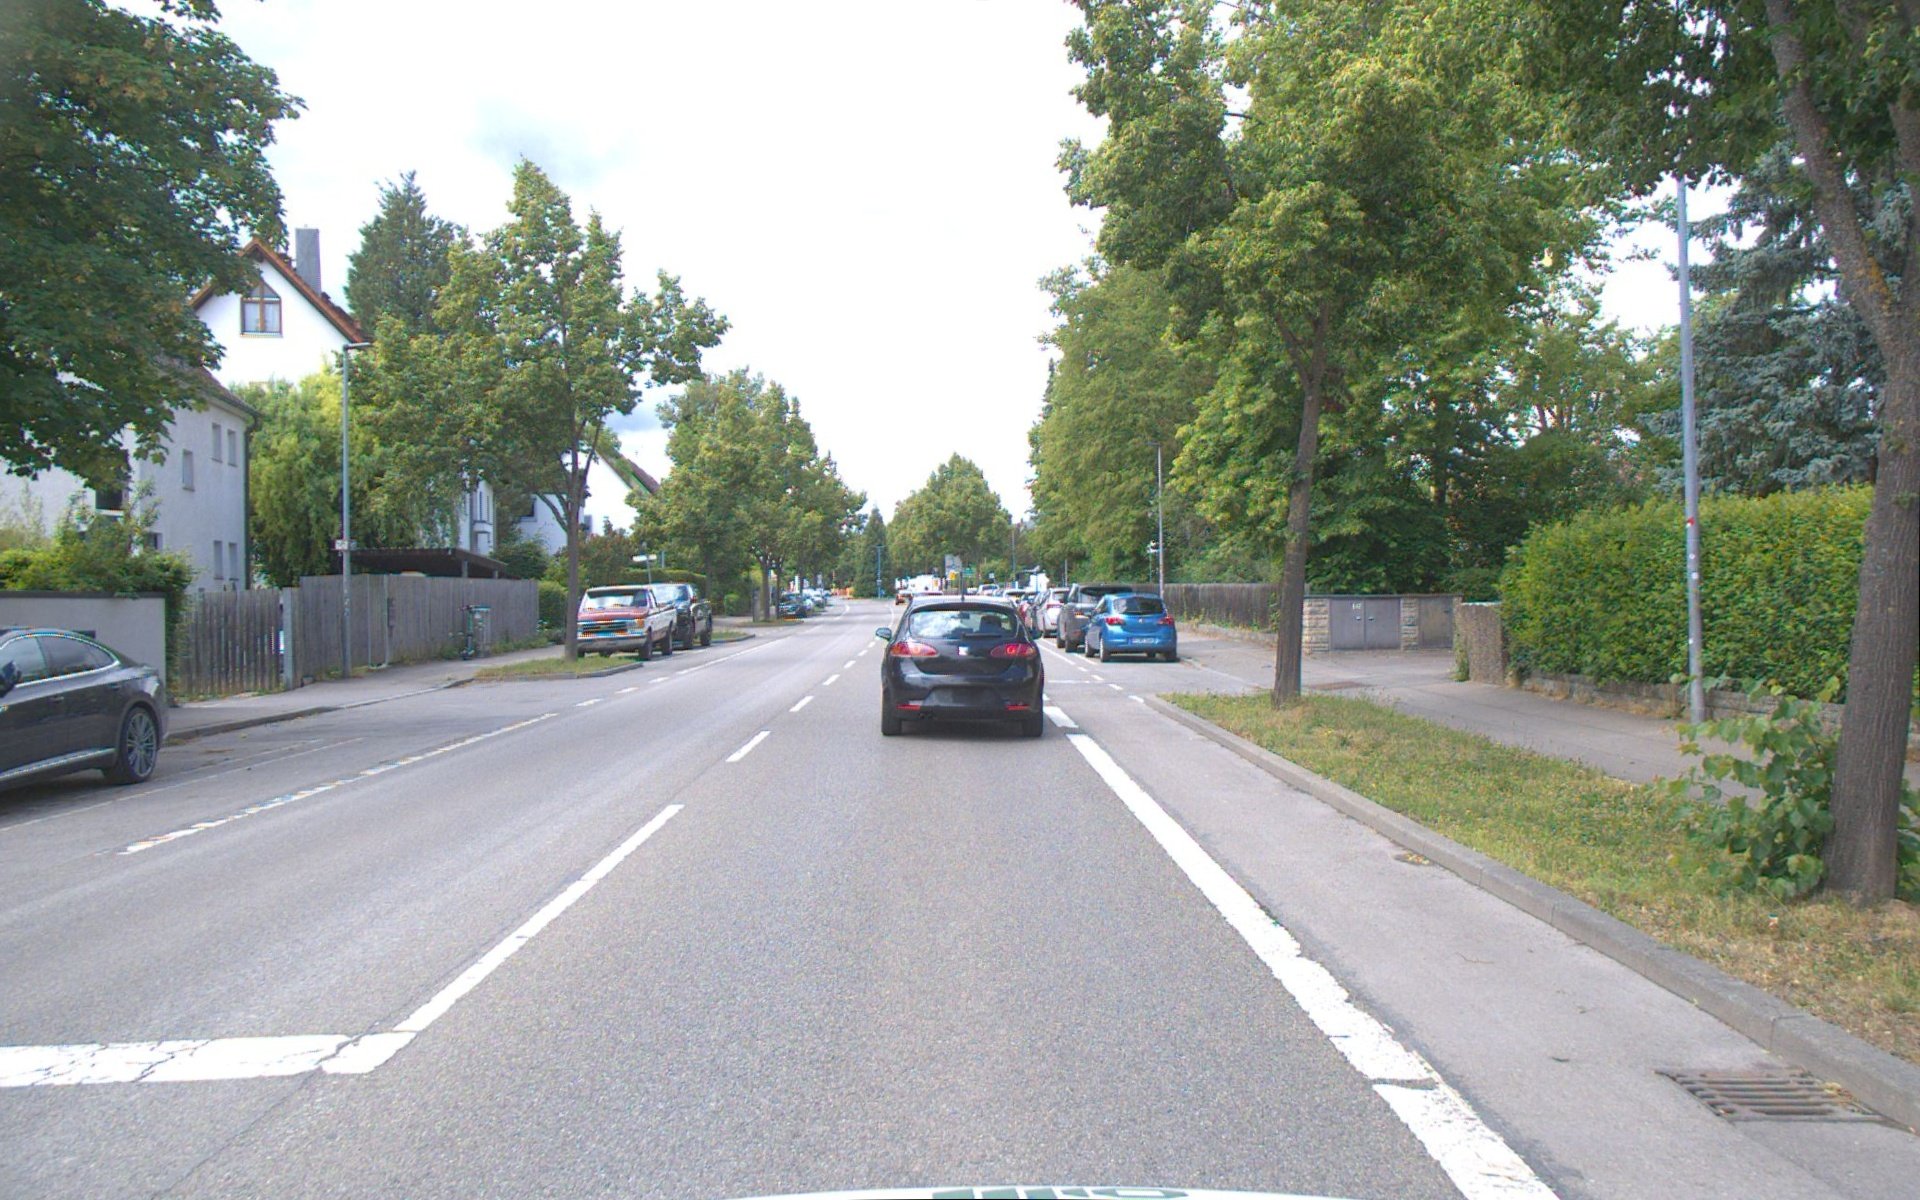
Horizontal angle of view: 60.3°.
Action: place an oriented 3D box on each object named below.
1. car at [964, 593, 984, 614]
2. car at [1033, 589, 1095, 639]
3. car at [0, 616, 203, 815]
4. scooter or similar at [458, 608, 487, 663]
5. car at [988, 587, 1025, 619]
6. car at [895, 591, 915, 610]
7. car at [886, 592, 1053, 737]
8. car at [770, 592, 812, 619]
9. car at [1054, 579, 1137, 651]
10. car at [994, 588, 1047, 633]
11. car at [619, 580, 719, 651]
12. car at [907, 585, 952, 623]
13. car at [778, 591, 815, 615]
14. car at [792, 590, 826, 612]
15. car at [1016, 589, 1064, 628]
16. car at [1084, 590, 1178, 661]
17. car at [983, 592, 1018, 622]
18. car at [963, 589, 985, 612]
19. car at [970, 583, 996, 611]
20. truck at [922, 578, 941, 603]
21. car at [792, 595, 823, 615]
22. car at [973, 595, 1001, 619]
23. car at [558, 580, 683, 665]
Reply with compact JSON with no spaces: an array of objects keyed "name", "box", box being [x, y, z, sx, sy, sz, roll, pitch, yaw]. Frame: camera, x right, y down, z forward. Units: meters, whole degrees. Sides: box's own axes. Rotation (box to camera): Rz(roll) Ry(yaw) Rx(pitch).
[{"name":"car","box":[1.259,0.303,153.039,1.654,1.908,4.212,-1,0,-2]},{"name":"car","box":[3.415,0.437,54.783,1.654,1.591,4.212,-1,0,-2]},{"name":"car","box":[-7.962,0.907,13.212,1.683,1.419,4.799,-2,0,-2]},{"name":"scooter or similar","box":[-11.418,0.812,38.756,0.380,1.251,1.497,-1,0,-6]},{"name":"car","box":[2.379,0.133,85.490,1.654,1.591,4.212,-1,0,-2]},{"name":"car","box":[-5.114,0.025,154.552,1.843,1.718,4.212,-1,0,-2]},{"name":"car","box":[0.012,0.646,18.381,1.629,1.426,3.809,1,0,-3]},{"name":"car","box":[-10.130,0.312,99.476,2.058,1.532,5.782,-2,0,-2]},{"name":"car","box":[3.411,0.353,42.331,1.654,1.741,4.212,-1,0,-2]},{"name":"car","box":[2.214,0.383,61.433,1.654,1.591,4.212,-1,0,-2]},{"name":"car","box":[-8.668,0.434,49.735,2.058,1.929,5.782,-2,0,-2]},{"name":"car","box":[-1.250,0.172,69.462,1.808,1.536,3.811,1,0,0]},{"name":"car","box":[-11.052,0.181,112.163,2.058,1.532,5.782,-2,0,-2]},{"name":"car","box":[-11.141,0.073,122.140,2.058,1.532,5.782,-2,0,-2]},{"name":"car","box":[3.342,0.337,69.745,1.654,1.591,4.212,-1,0,-2]},{"name":"car","box":[3.810,0.544,37.230,1.654,1.516,3.354,-1,0,-2]},{"name":"car","box":[2.210,0.389,91.351,1.654,1.591,4.212,-1,0,-2]},{"name":"car","box":[1.201,0.027,141.328,1.654,1.908,4.212,-1,0,-2]},{"name":"car","box":[1.600,-0.222,116.853,1.654,1.908,4.212,-1,0,-2]},{"name":"truck","box":[-3.714,-1.171,215.423,2.233,3.158,8.506,1,0,-2]},{"name":"car","box":[-12.145,0.388,132.074,2.058,1.532,5.782,-2,0,-2]},{"name":"car","box":[1.795,0.454,109.968,1.654,1.591,4.212,-1,0,-2]},{"name":"car","box":[-8.538,0.515,42.128,2.058,1.929,5.782,-2,0,-2]}]
